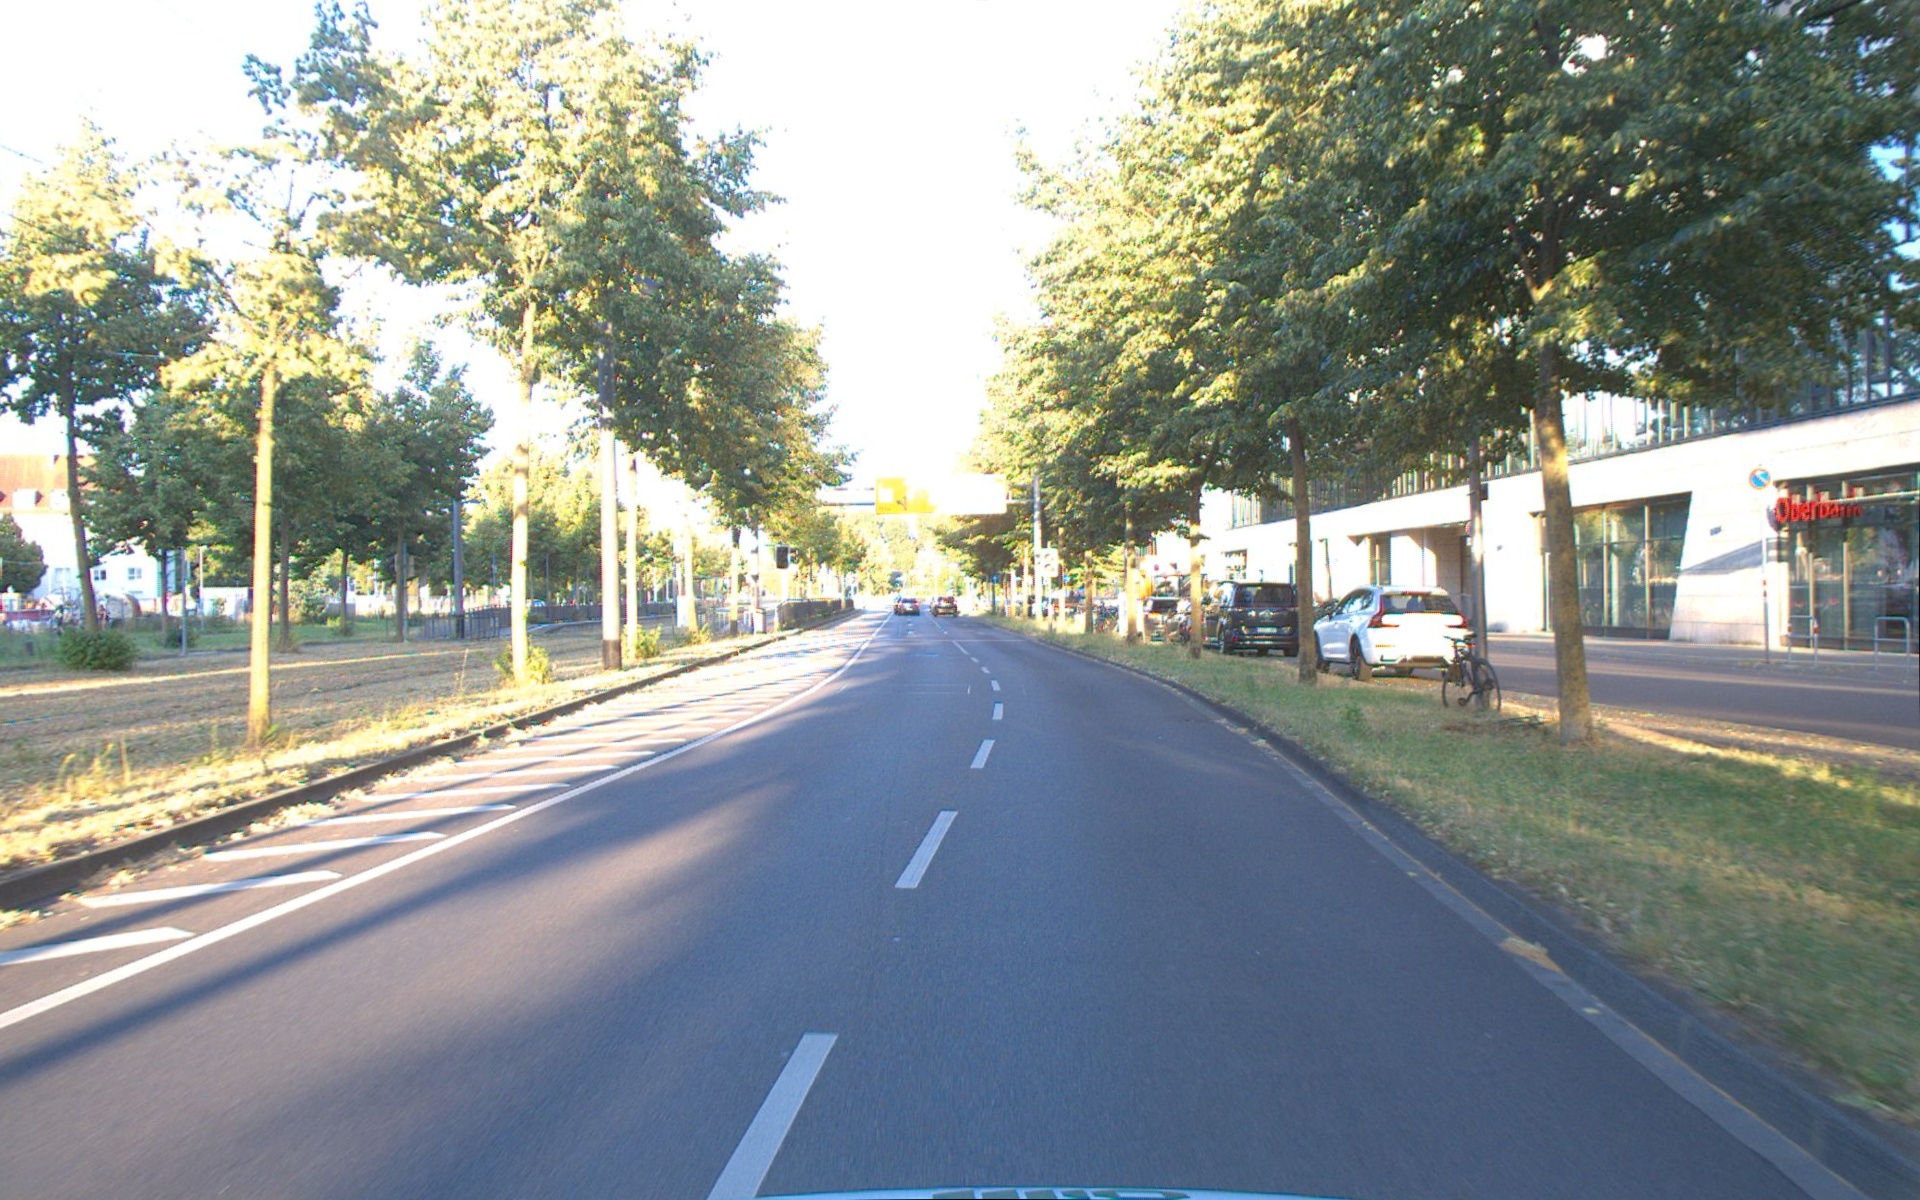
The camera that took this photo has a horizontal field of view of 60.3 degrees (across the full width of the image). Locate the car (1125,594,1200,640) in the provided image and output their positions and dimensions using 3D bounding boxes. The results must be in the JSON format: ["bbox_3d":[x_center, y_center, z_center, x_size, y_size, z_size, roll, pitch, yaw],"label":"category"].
[{"bbox_3d":[6.699,0.530,55.041,1.831,1.436,4.645,-1,0,-1],"label":"car"}]

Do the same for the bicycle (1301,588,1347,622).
[{"bbox_3d":[15.405,0.210,70.017,1.795,1.380,0.503,-1,0,-5],"label":"bicycle"}]

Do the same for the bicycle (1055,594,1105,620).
[{"bbox_3d":[5.375,0.321,74.085,2.102,1.072,0.524,3,0,-9],"label":"bicycle"}]

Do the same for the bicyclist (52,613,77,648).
[{"bbox_3d":[-38.276,1.289,70.713,0.607,1.446,0.937,-1,0,-4],"label":"bicyclist"}]

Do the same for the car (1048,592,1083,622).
[{"bbox_3d":[5.580,0.361,87.835,1.543,1.498,3.880,-1,0,-1],"label":"car"}]

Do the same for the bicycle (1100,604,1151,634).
[{"bbox_3d":[6.420,0.748,64.155,1.903,1.072,0.545,3,0,-3],"label":"bicycle"}]

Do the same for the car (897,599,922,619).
[{"bbox_3d":[-4.061,0.689,132.109,1.873,1.512,3.998,-1,0,-3],"label":"car"}]

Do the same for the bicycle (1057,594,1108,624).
[{"bbox_3d":[4.820,0.348,65.167,1.911,1.072,0.542,3,0,-17],"label":"bicycle"}]

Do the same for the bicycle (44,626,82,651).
[{"bbox_3d":[-38.268,1.643,70.579,0.607,1.029,2.081,-1,0,-4],"label":"bicycle"}]

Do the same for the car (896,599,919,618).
[{"bbox_3d":[-4.430,0.704,138.573,1.873,1.512,3.998,-1,0,-3],"label":"car"}]

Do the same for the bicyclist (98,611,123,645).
[{"bbox_3d":[-37.653,1.238,73.309,0.607,1.482,0.937,-1,0,-4],"label":"bicyclist"}]

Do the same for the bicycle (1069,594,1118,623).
[{"bbox_3d":[5.473,0.349,67.880,1.906,1.072,0.408,3,0,-10],"label":"bicycle"}]

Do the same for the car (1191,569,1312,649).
[{"bbox_3d":[7.343,0.208,42.177,1.954,1.884,4.661,-1,0,-4],"label":"car"}]

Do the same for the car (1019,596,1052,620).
[{"bbox_3d":[5.021,0.516,110.203,1.722,1.491,4.155,-1,0,-4],"label":"car"}]

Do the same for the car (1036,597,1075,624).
[{"bbox_3d":[5.465,0.595,94.866,1.742,1.498,4.285,-1,0,-4],"label":"car"}]

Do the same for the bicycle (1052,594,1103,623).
[{"bbox_3d":[4.678,0.352,65.761,1.911,1.072,0.542,3,0,-17],"label":"bicycle"}]

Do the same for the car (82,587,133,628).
[{"bbox_3d":[-48.920,0.442,95.022,2.385,2.263,5.870,-1,0,-25],"label":"car"}]

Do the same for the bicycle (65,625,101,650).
[{"bbox_3d":[-38.571,1.635,72.772,0.607,1.029,2.081,-1,0,-4],"label":"bicycle"}]

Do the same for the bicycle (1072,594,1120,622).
[{"bbox_3d":[5.635,0.324,68.364,1.906,1.072,0.408,3,0,-10],"label":"bicycle"}]

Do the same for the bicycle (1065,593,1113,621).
[{"bbox_3d":[5.434,0.303,69.592,1.906,1.072,0.413,3,0,-10],"label":"bicycle"}]

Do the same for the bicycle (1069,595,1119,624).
[{"bbox_3d":[5.392,0.393,66.699,1.908,1.072,0.543,3,0,-13],"label":"bicycle"}]

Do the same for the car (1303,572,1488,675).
[{"bbox_3d":[7.760,0.391,29.986,1.953,1.671,4.877,-1,0,-1],"label":"car"}]

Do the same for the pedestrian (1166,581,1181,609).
[{"bbox_3d":[13.665,-0.318,105.979,0.696,1.767,0.682,-1,0,-32],"label":"pedestrian"}]

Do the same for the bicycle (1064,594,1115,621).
[{"bbox_3d":[5.642,0.329,72.194,2.102,1.072,0.570,3,0,-9],"label":"bicycle"}]

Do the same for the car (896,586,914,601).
[{"bbox_3d":[-5.822,-0.644,173.945,1.873,1.512,3.998,-1,0,-3],"label":"car"}]

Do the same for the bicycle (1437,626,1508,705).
[{"bbox_3d":[5.917,0.741,19.160,0.309,0.838,1.552,-1,0,-1],"label":"bicycle"}]

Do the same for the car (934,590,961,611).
[{"bbox_3d":[-0.948,0.012,123.705,1.873,1.512,3.998,-1,0,-3],"label":"car"}]

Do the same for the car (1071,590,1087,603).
[{"bbox_3d":[16.111,-0.445,224.537,1.952,1.758,4.001,-1,0,2],"label":"car"}]

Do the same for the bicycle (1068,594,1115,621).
[{"bbox_3d":[5.486,0.315,69.138,1.906,1.072,0.347,3,0,-10],"label":"bicycle"}]

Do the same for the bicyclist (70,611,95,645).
[{"bbox_3d":[-38.586,1.214,72.745,0.607,1.482,0.937,-1,0,-4],"label":"bicyclist"}]

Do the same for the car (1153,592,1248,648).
[{"bbox_3d":[6.940,0.550,48.127,1.774,1.497,4.661,-1,0,-4],"label":"car"}]

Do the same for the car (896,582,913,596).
[{"bbox_3d":[-6.380,-1.241,189.722,1.873,1.512,3.998,-1,0,-3],"label":"car"}]

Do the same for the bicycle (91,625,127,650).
[{"bbox_3d":[-37.647,1.652,73.202,0.607,1.029,2.081,-1,0,-4],"label":"bicycle"}]
